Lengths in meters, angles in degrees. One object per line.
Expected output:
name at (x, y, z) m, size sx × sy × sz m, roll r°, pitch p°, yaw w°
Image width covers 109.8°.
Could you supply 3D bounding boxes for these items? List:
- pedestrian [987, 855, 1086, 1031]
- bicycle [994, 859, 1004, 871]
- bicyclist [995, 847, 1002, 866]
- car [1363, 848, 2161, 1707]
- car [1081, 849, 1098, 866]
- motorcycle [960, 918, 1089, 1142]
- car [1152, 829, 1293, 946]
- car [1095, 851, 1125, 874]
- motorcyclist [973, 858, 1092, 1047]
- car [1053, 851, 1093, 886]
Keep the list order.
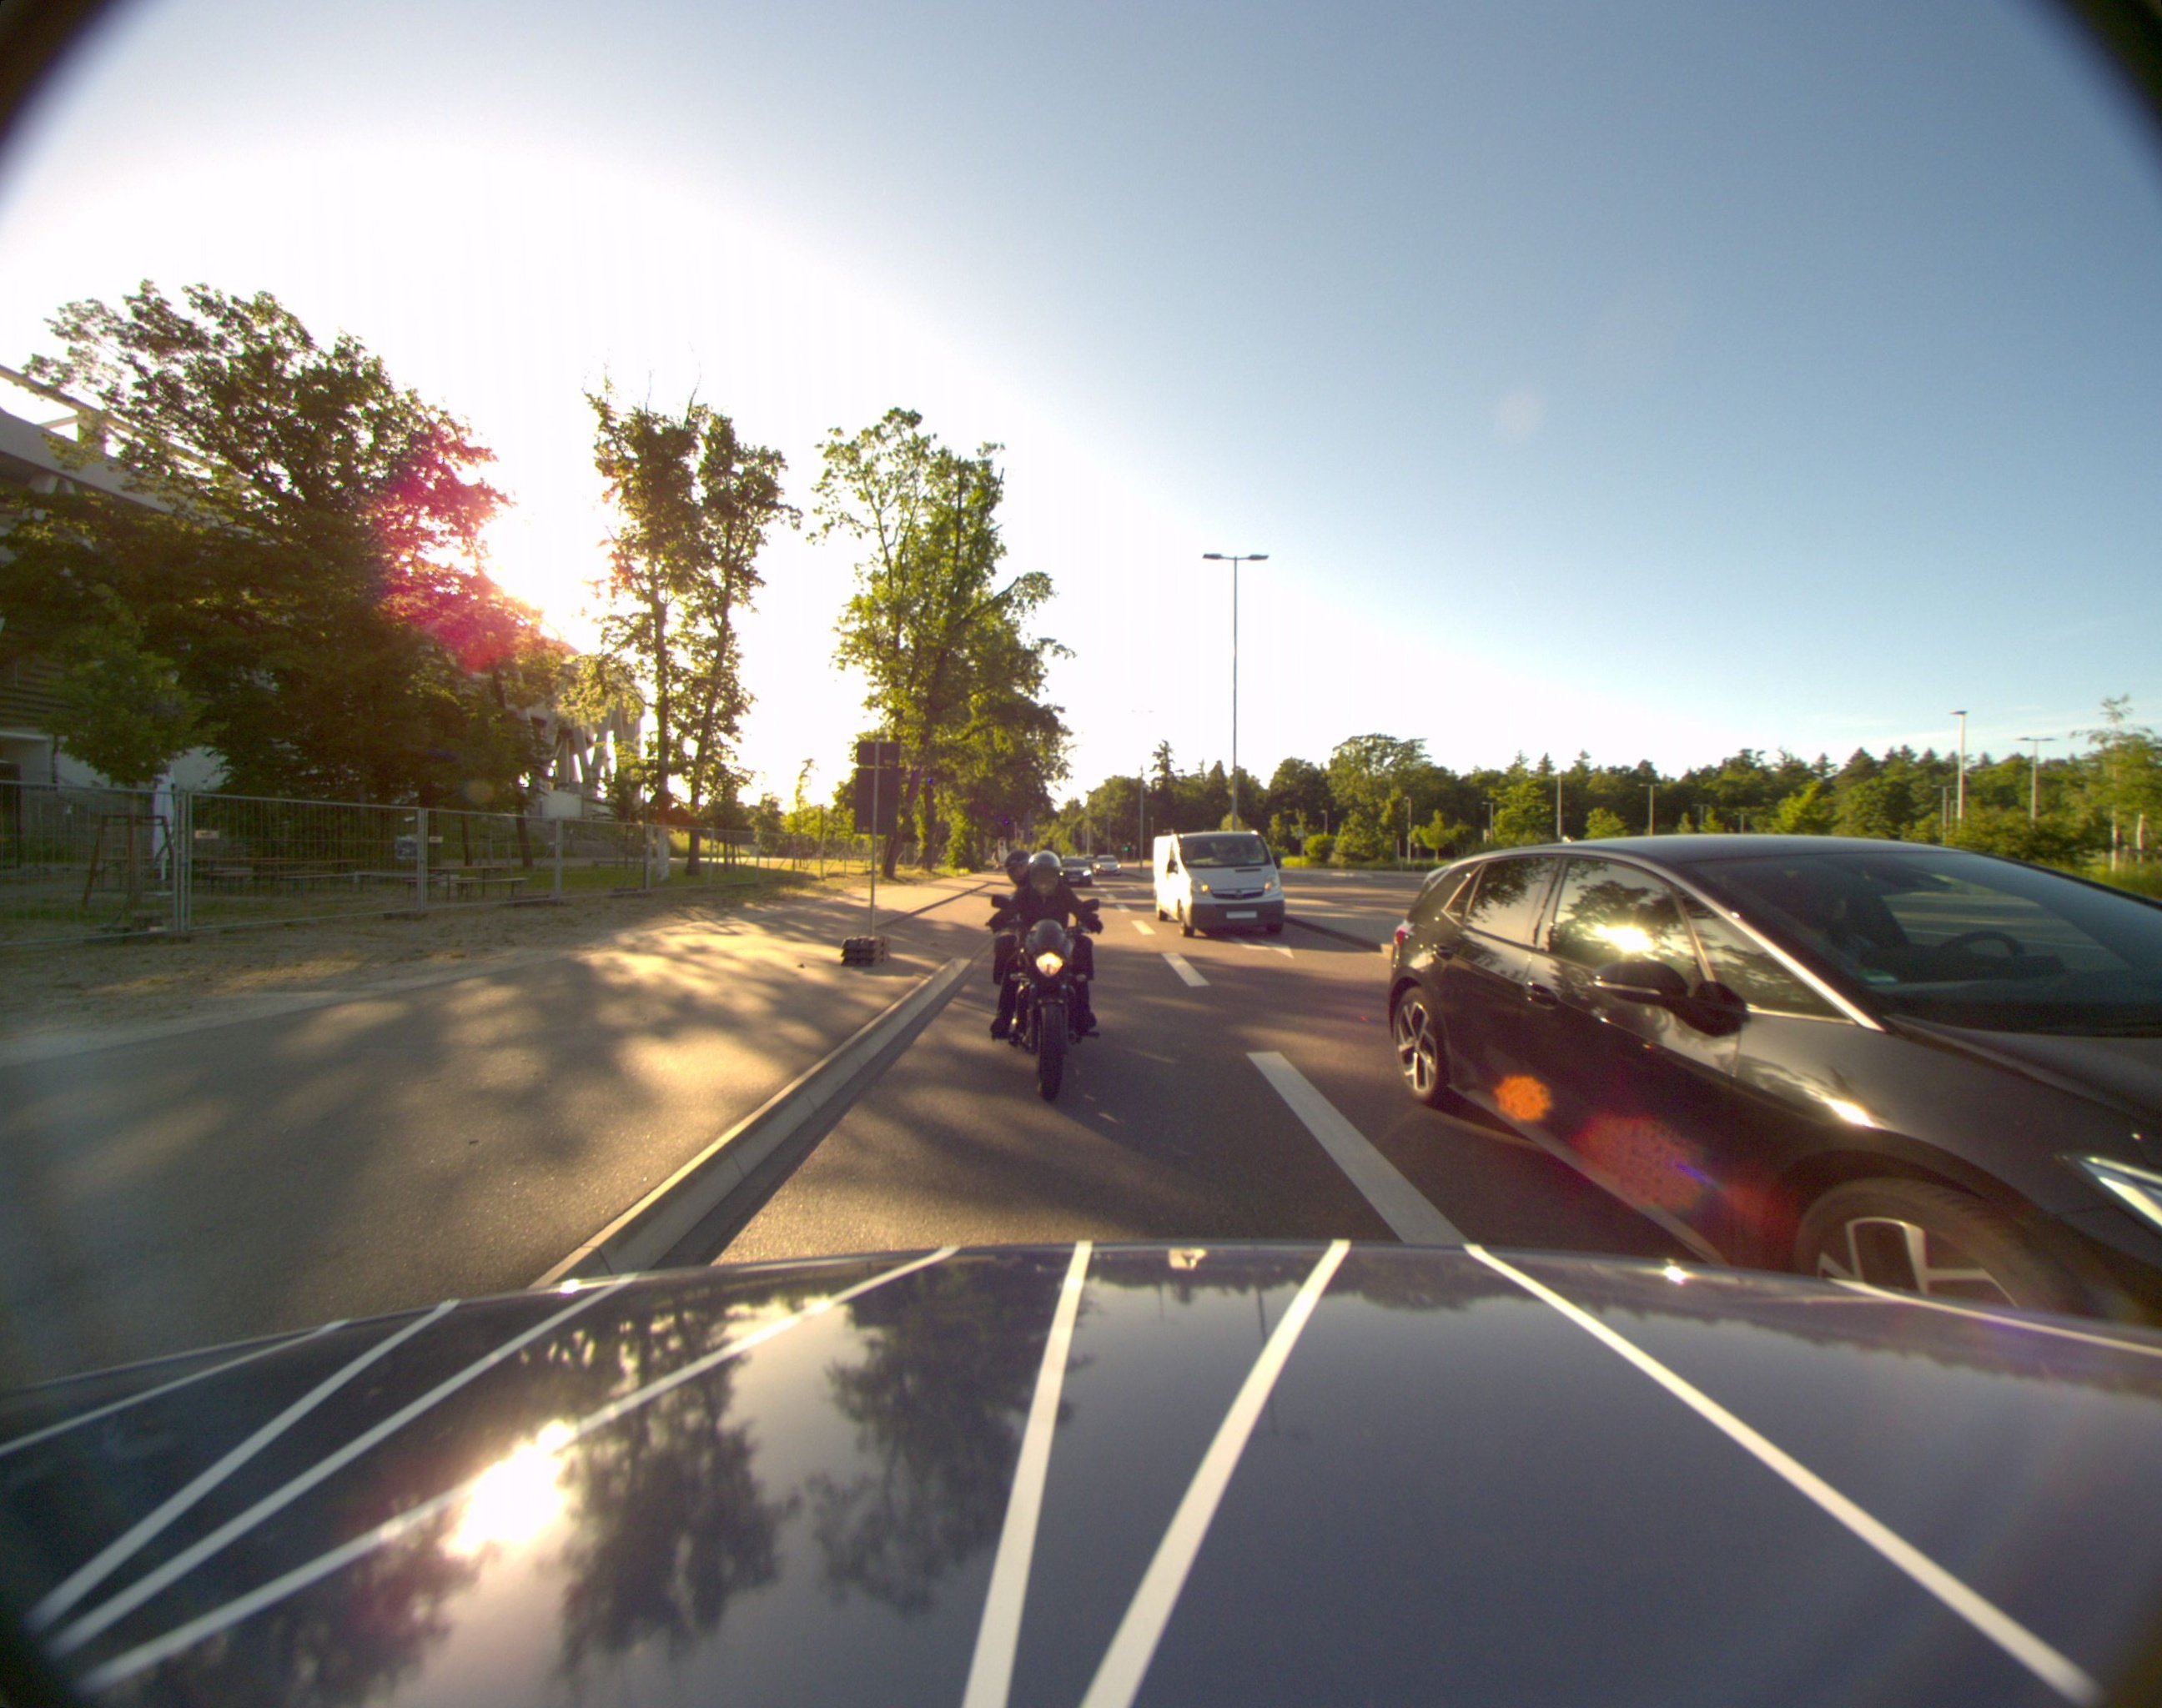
pedestrian at (-0.353, 0.715, 6.364) m, size 0.739 × 1.387 × 0.500 m, roll -2°, pitch 1°, yaw 1°
bicycle at (-6.215, 0.806, 57.479) m, size 0.481 × 0.854 × 1.910 m, roll 0°, pitch 0°, yaw 1°
bicyclist at (-6.205, 0.155, 57.423) m, size 0.451 × 1.412 × 0.575 m, roll 0°, pitch 1°, yaw 2°
car at (2.786, 0.785, 2.883) m, size 1.883 × 1.528 × 3.999 m, roll -2°, pitch 1°, yaw 0°
car at (0.860, 0.308, 78.698) m, size 1.638 × 1.674 × 4.000 m, roll -2°, pitch 1°, yaw 1°
motorcycle at (-0.325, 1.164, 5.879) m, size 0.717 × 1.058 × 2.721 m, roll -2°, pitch 0°, yaw 1°
car at (2.692, 0.595, 15.704) m, size 1.883 × 1.951 × 5.048 m, roll -2°, pitch 0°, yaw 0°
car at (2.033, 0.563, 54.837) m, size 1.883 × 1.514 × 5.048 m, roll -2°, pitch 0°, yaw 0°
motorcyclist at (-0.354, 0.733, 5.849) m, size 0.822 × 1.367 × 0.476 m, roll -2°, pitch 1°, yaw 1°
car at (-0.394, 0.696, 39.206) m, size 1.883 × 1.629 × 5.048 m, roll -2°, pitch 0°, yaw 0°
